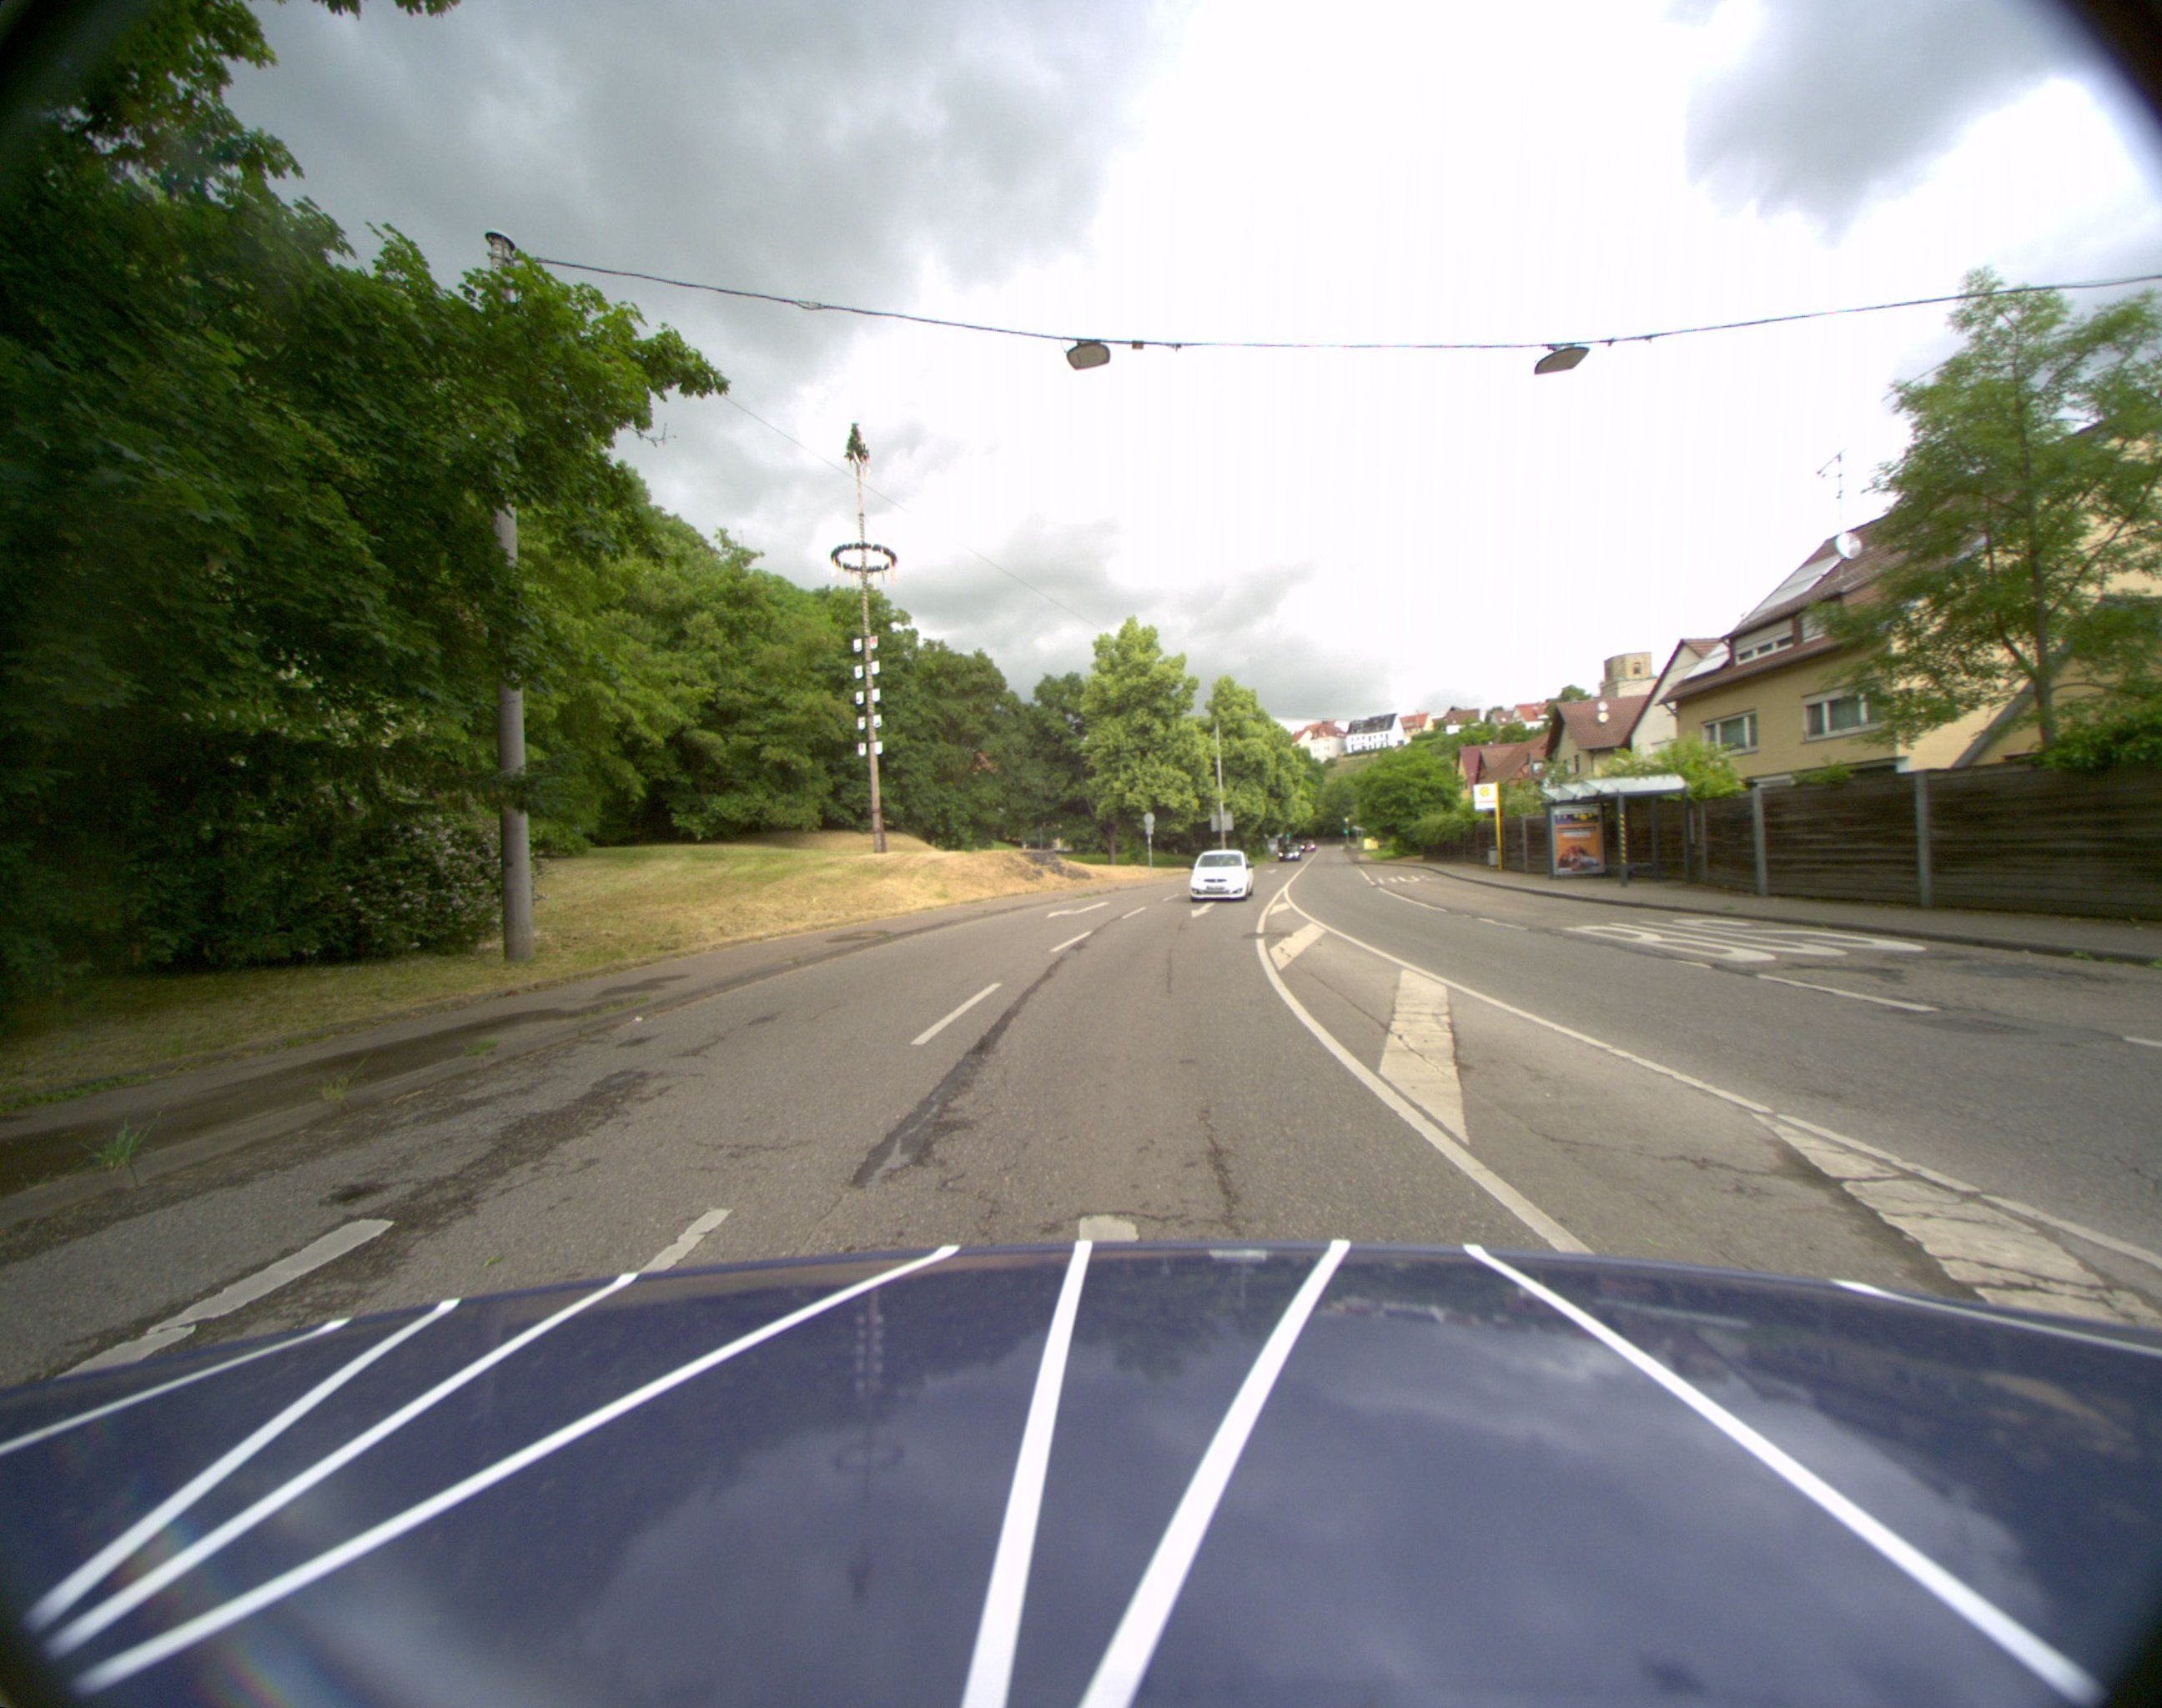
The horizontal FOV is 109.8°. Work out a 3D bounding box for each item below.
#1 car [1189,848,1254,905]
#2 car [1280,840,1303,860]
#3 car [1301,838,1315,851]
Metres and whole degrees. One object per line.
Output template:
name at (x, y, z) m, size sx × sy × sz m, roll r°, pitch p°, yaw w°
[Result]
car at (4.327, 0.632, 23.034) m, size 1.617 × 1.505 × 3.608 m, roll -2°, pitch 1°, yaw 15°
car at (18.265, -0.374, 65.833) m, size 1.722 × 1.539 × 3.786 m, roll -2°, pitch 1°, yaw 18°
car at (32.641, -1.402, 109.125) m, size 1.826 × 1.662 × 4.062 m, roll -2°, pitch 1°, yaw 18°
